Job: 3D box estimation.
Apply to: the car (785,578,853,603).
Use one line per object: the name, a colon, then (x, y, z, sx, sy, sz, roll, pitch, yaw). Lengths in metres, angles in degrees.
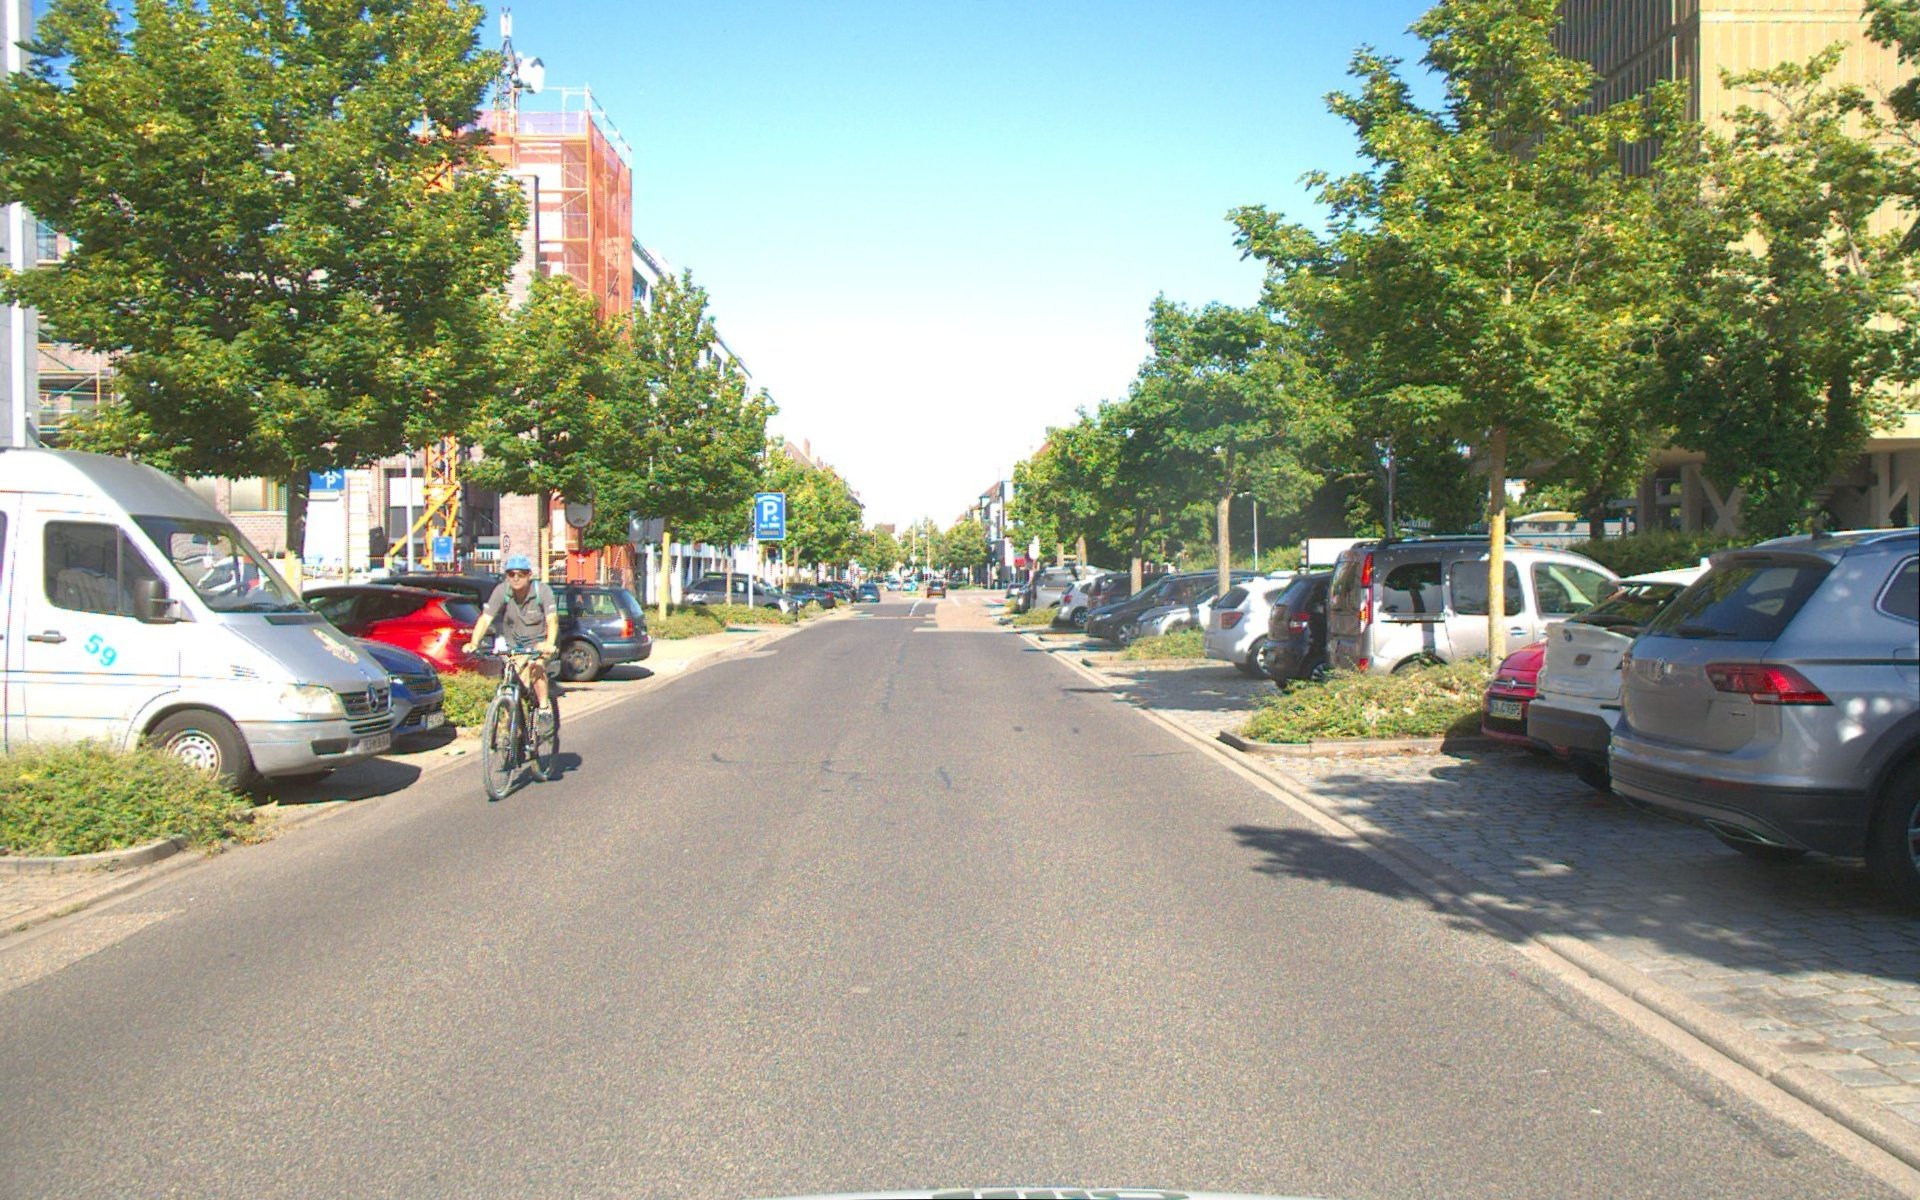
car: (-9.144, -0.605, 107.679, 4.244, 1.500, 1.817, -1, 2, -2)

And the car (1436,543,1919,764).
car: (5.723, 0.377, 13.236, 3.302, 1.556, 1.597, -1, 0, -10)

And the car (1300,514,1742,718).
car: (5.882, 0.116, 17.675, 4.036, 1.961, 1.978, -1, 2, -3)

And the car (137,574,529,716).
car: (-7.331, 0.495, 19.643, 3.905, 1.544, 1.855, -1, 1, 0)

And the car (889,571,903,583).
car: (-8.877, -3.256, 230.834, 1.775, 1.500, 4.111, -1, 2, 0)

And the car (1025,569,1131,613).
car: (4.329, -0.344, 60.838, 3.831, 1.500, 1.796, -1, 2, 3)

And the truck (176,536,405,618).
truck: (-22.522, -0.807, 55.845, 6.717, 2.591, 2.281, -1, 2, 0)

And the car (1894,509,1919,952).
car: (5.694, 0.434, 5.431, 4.236, 1.636, 1.910, -2, 1, -5)

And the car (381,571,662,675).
car: (-6.930, 0.347, 26.479, 4.049, 1.518, 1.868, 1, 2, -4)

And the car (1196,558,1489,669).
car: (5.669, 0.189, 24.852, 3.978, 1.450, 1.742, -2, 0, 0)

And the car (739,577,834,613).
car: (-7.932, -0.253, 75.839, 4.246, 1.500, 1.816, -1, 2, -5)

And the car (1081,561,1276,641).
car: (4.829, -0.006, 36.892, 4.061, 1.607, 1.740, -2, 1, -2)

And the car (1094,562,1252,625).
car: (5.576, -0.173, 43.684, 3.906, 1.565, 1.861, -1, 0, -1)

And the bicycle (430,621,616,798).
bicycle: (-3.221, 0.767, 12.407, 0.683, 1.130, 2.080, -2, 1, 4)

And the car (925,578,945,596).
car: (-2.367, -1.236, 155.247, 1.775, 1.500, 4.111, -1, 2, 0)

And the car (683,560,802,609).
car: (-7.990, -0.578, 60.956, 4.176, 1.694, 1.599, -1, 2, -2)

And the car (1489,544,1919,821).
car: (5.446, 0.446, 10.742, 3.429, 1.556, 1.736, -1, 2, -6)

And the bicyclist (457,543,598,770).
bicyclist: (-3.235, 0.400, 12.453, 0.669, 1.608, 1.061, -2, 1, 3)

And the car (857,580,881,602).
car: (-7.033, -0.717, 128.544, 1.775, 1.500, 4.110, -1, 2, -2)

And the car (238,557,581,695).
car: (-7.226, 0.320, 21.987, 3.904, 1.693, 1.828, 1, 1, 2)

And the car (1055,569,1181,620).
car: (4.846, -0.171, 51.126, 3.690, 1.485, 1.817, -1, 1, -2)

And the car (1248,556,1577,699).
car: (5.480, 0.293, 20.291, 3.534, 1.576, 1.706, -1, 2, -3)

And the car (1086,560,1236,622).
car: (5.589, -0.253, 46.333, 3.906, 1.609, 2.031, -1, 0, -1)

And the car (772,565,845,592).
car: (-9.210, -1.308, 100.648, 4.244, 1.500, 1.817, -1, 2, -2)

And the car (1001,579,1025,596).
car: (5.124, -1.242, 159.631, 1.950, 1.500, 4.109, -1, 2, -3)

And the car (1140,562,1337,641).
car: (5.778, 0.008, 34.604, 3.785, 1.530, 1.651, -1, 1, -4)

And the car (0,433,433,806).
car: (-6.873, 0.084, 11.997, 5.437, 2.451, 1.988, 1, 1, 1)

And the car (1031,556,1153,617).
car: (4.360, -0.474, 55.074, 3.906, 1.912, 1.682, -1, 2, -1)

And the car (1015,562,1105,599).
car: (4.337, -0.822, 72.006, 3.831, 1.500, 1.758, -1, -1, 3)

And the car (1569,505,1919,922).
car: (5.196, 0.399, 7.944, 3.821, 1.724, 1.940, -1, 2, -3)

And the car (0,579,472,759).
car: (-6.647, 0.577, 15.078, 3.852, 1.511, 1.786, 0, 1, 0)

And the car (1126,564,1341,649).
car: (5.219, 0.094, 31.870, 3.822, 1.512, 1.742, -1, 1, -2)
